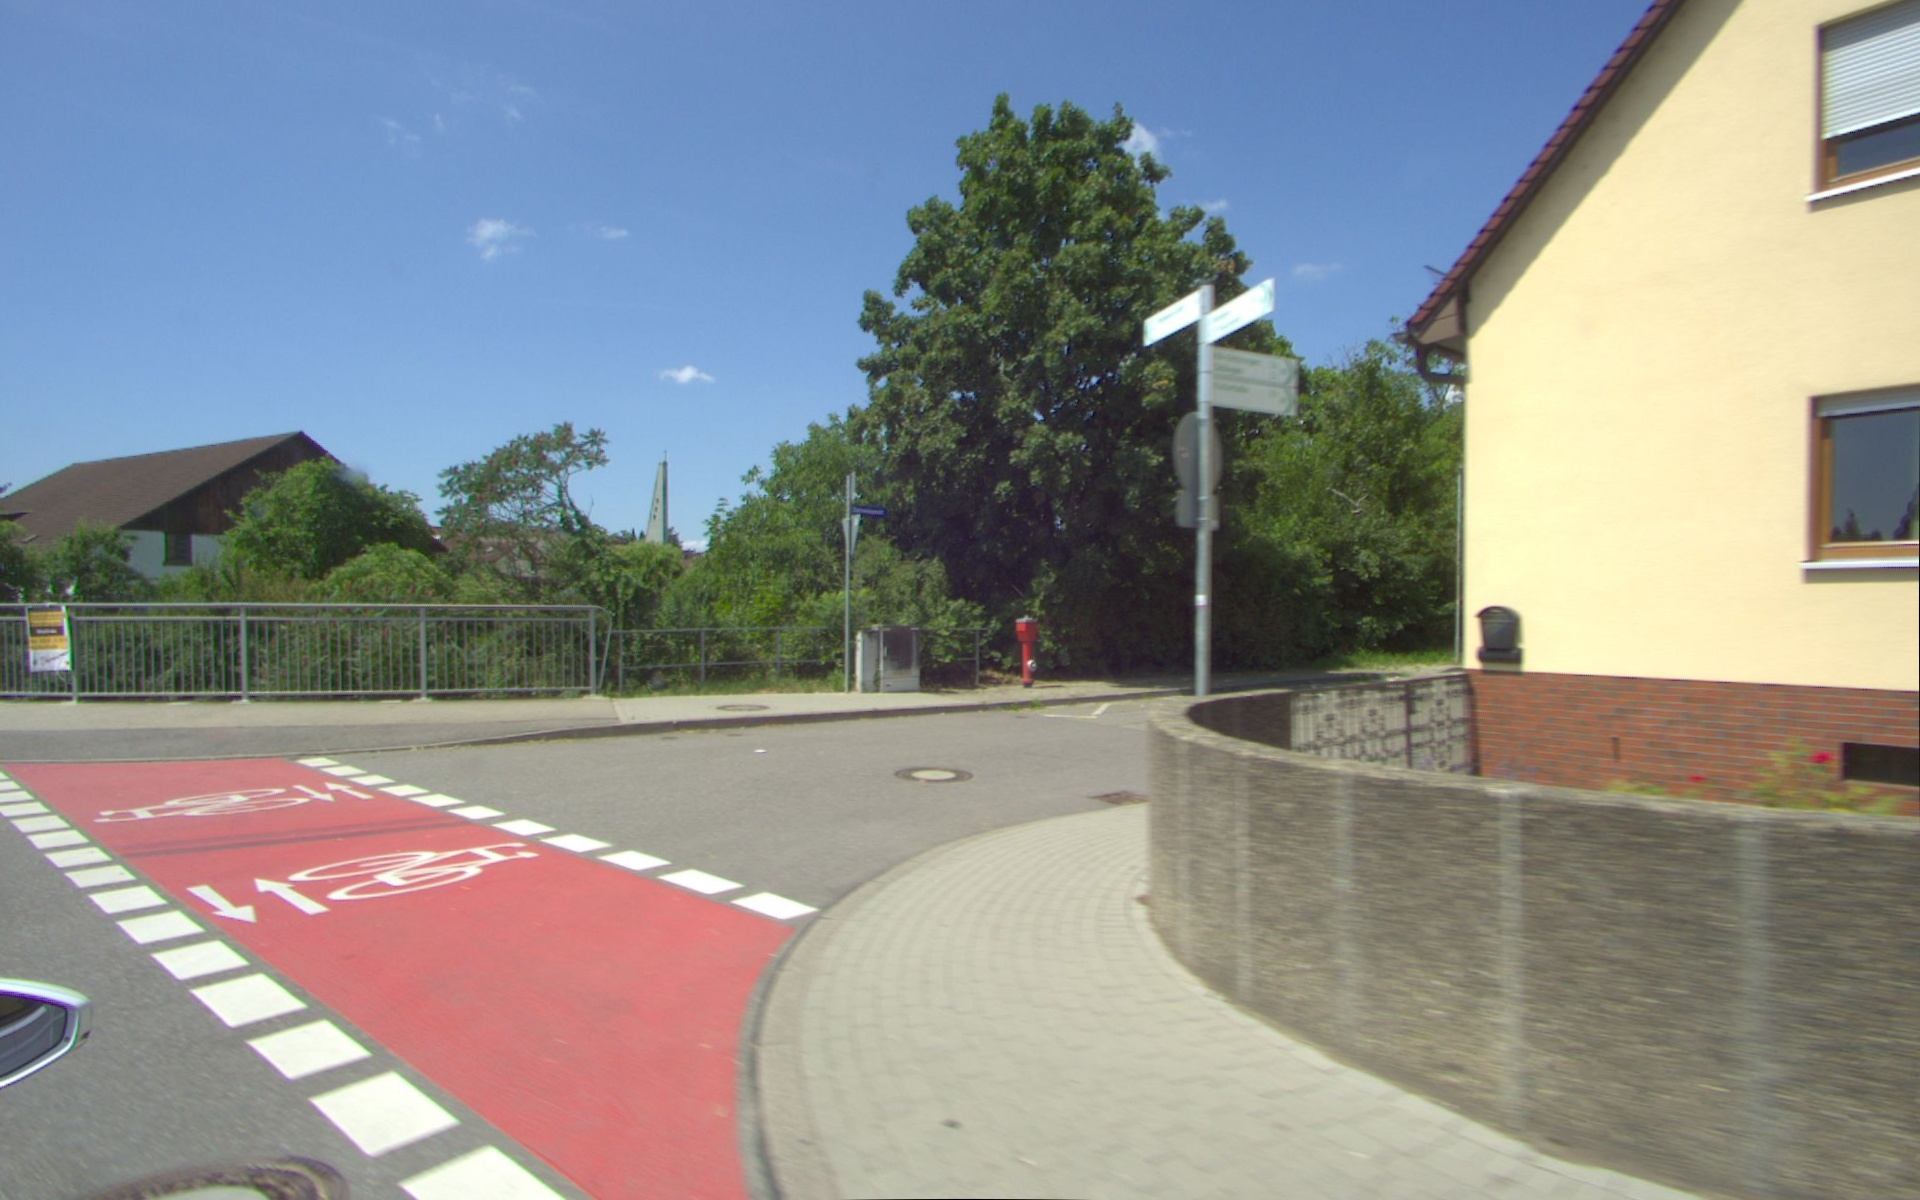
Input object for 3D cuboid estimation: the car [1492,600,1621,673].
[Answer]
[{"bbox_3d":[15.349,0.891,25.697,4.218,1.719,1.807,1,0,-44],"label":"car"}]
